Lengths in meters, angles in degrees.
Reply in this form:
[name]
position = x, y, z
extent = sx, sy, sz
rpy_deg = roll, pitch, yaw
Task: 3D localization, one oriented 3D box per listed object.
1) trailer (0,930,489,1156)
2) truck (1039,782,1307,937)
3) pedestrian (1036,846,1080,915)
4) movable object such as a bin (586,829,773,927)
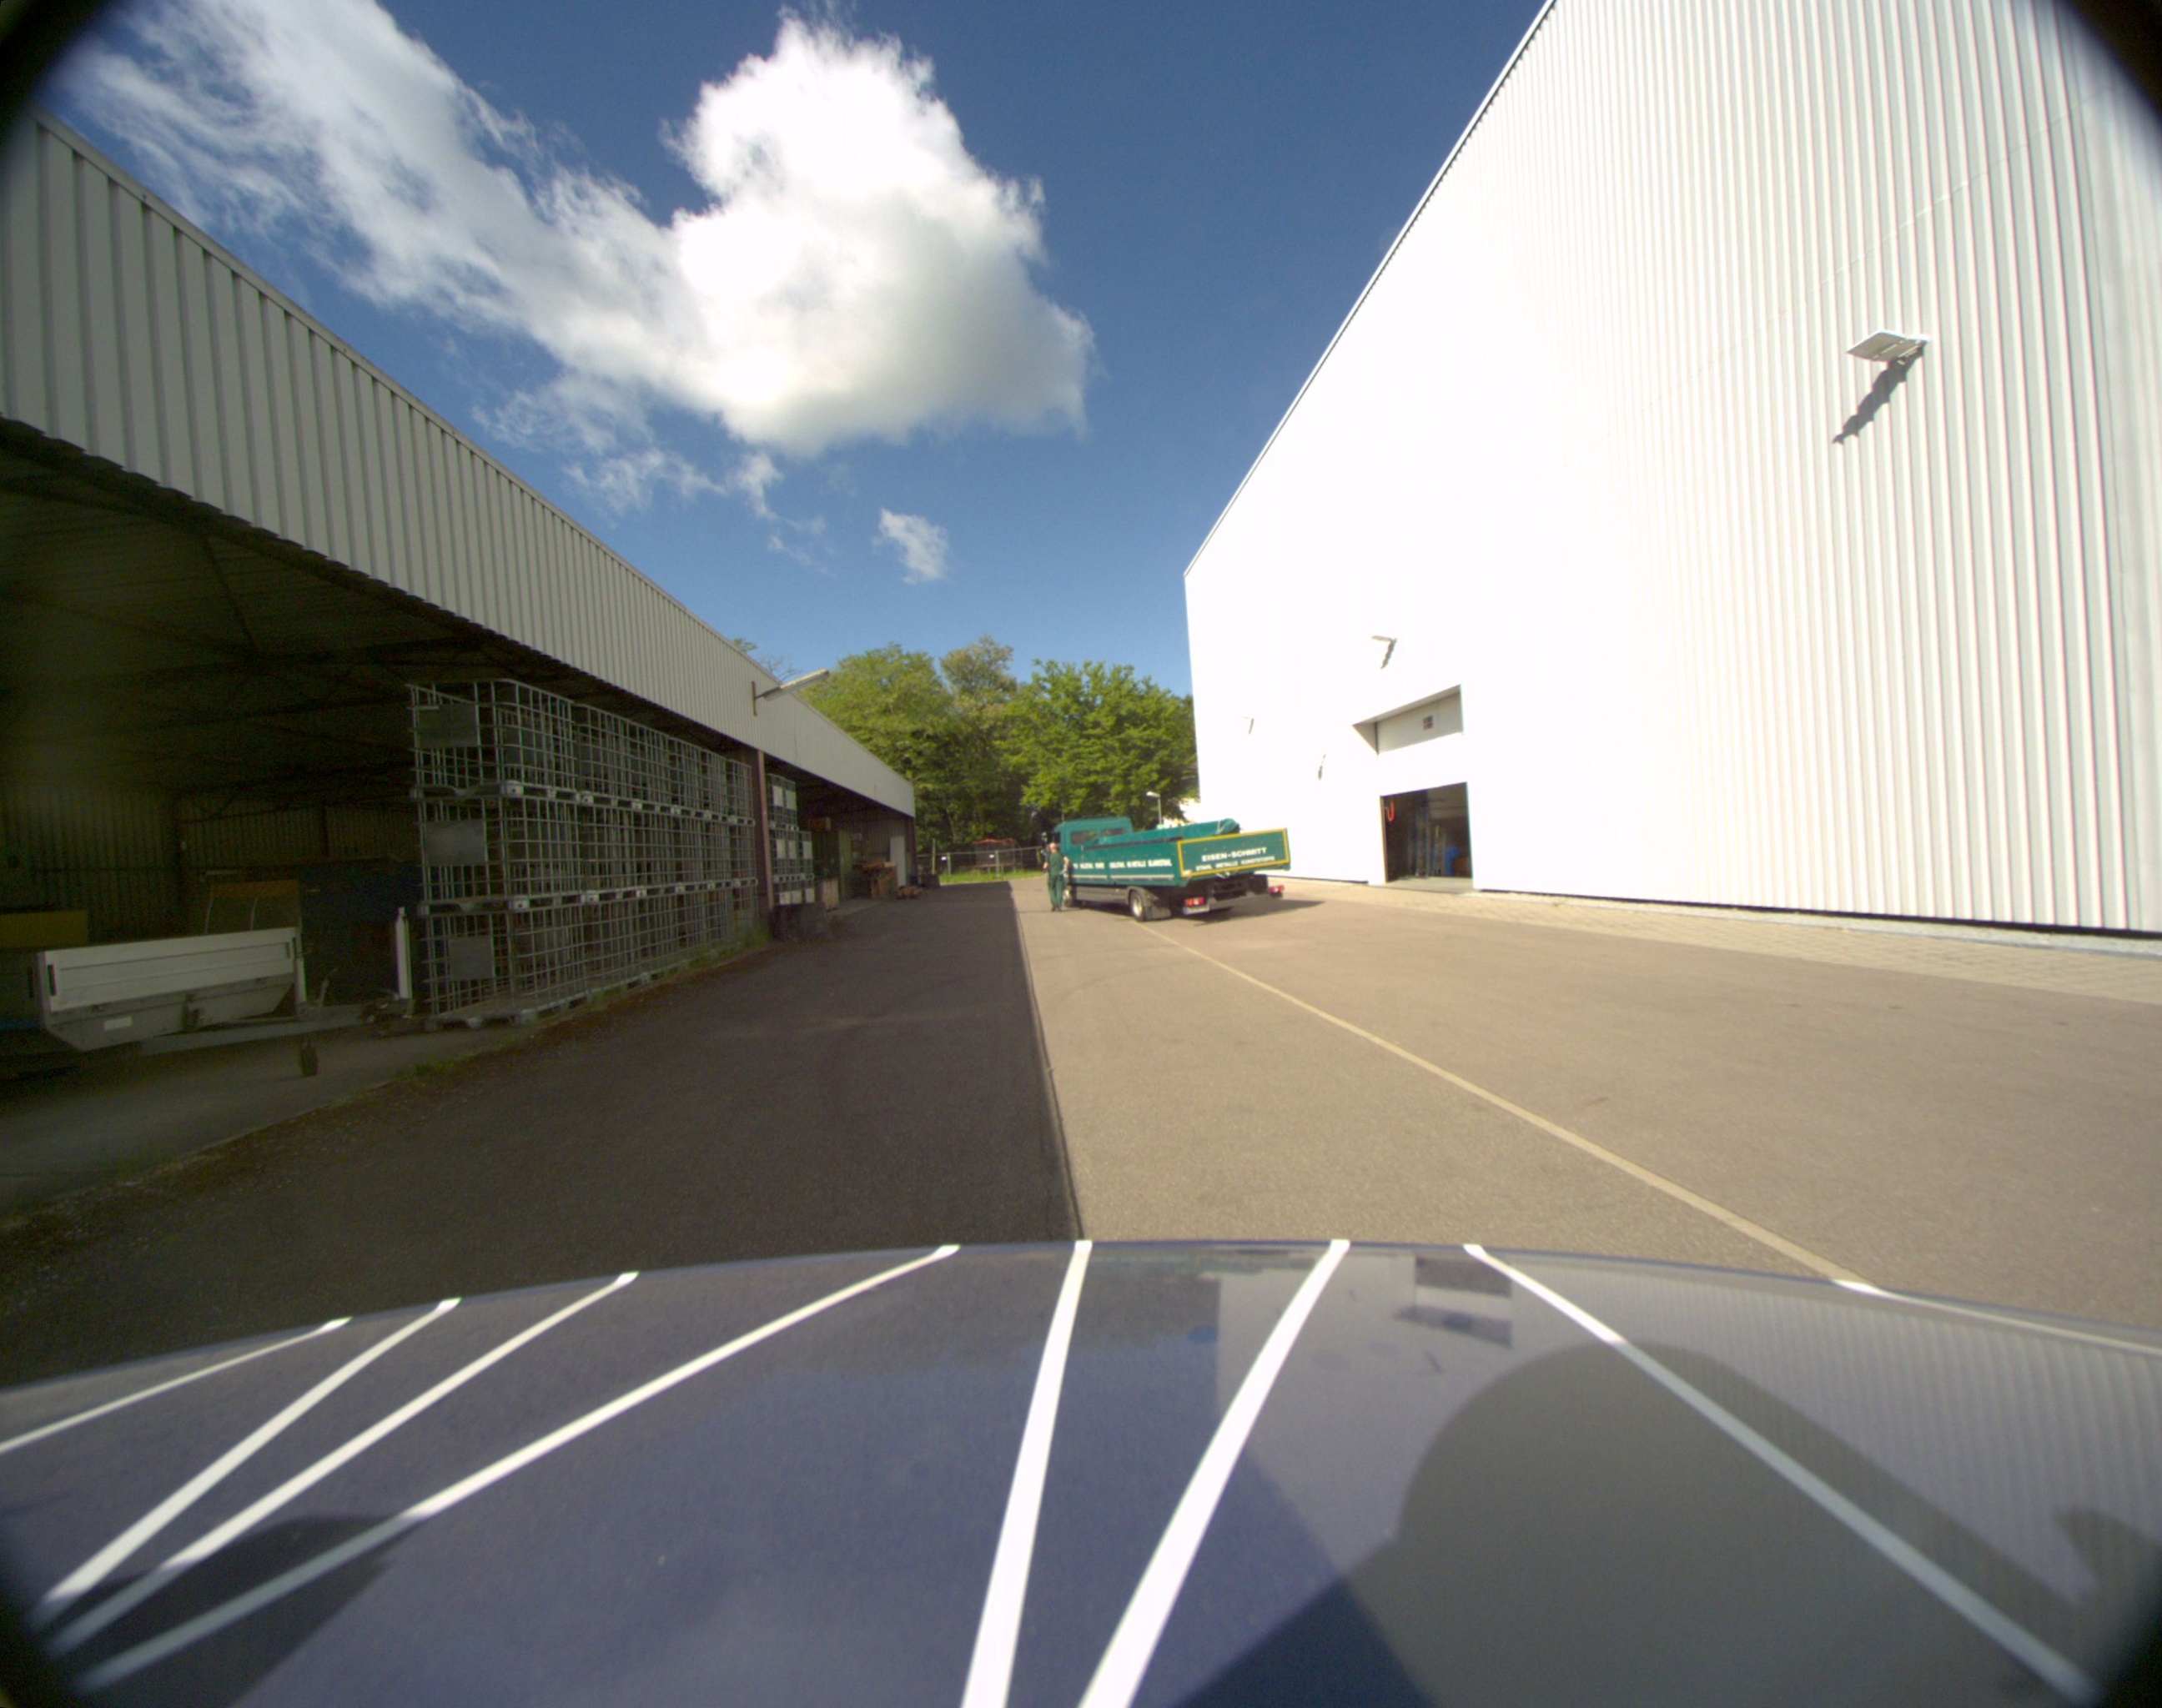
[trailer]
position = -8.222, 1.421, 5.649
extent = 5.752, 1.126, 2.007
rpy_deg = -3, 0, -7
[truck]
position = 1.586, 0.171, 19.164
extent = 2.590, 2.701, 9.681
rpy_deg = -7, 1, -18
[pedestrian]
position = -0.629, 0.699, 20.532
extent = 0.895, 1.792, 1.038
rpy_deg = -2, 1, -17
[movable object such as a bin]
position = -12.331, 0.712, 23.641
extent = 4.629, 2.706, 1.999
rpy_deg = -2, -1, -7
